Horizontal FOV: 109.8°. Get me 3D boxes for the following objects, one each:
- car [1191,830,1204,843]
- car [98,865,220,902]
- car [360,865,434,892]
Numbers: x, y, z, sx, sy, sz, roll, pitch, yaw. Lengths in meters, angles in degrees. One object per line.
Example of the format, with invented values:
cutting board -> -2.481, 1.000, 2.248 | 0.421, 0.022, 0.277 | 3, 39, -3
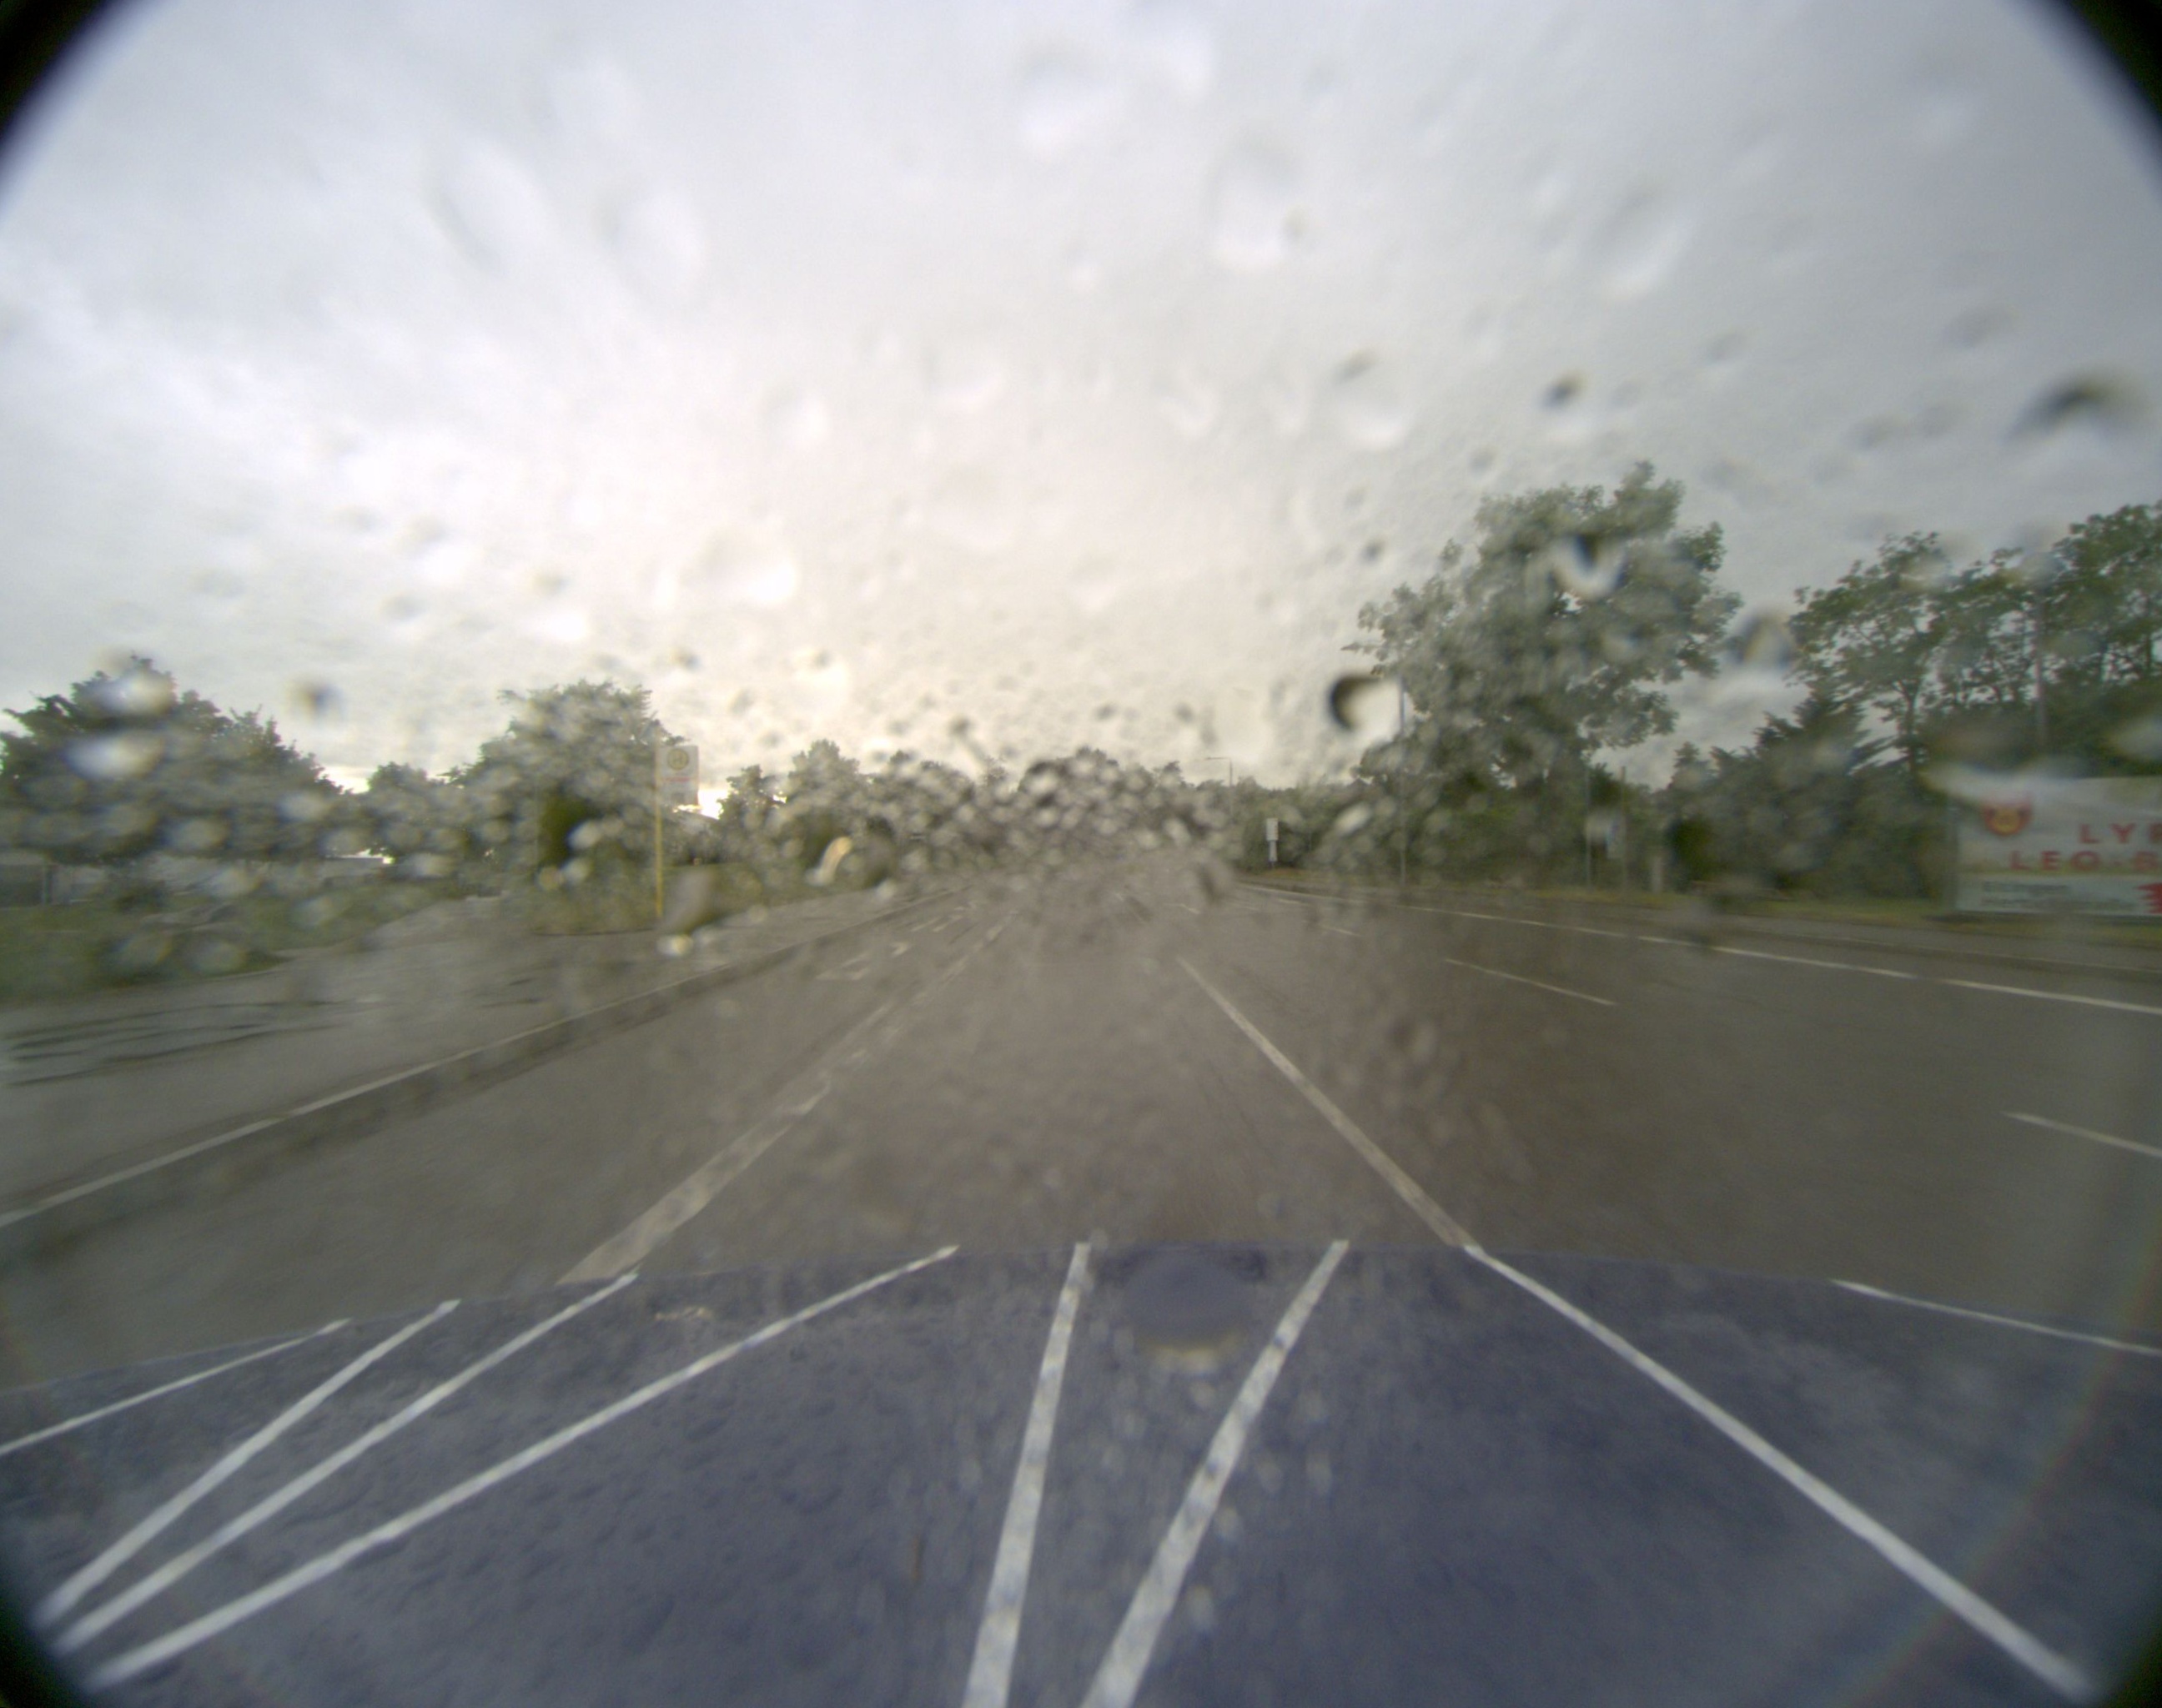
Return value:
car -> 19.516, -2.929, 127.339 | 1.965, 2.002, 4.002 | -1, 1, 10
car -> -49.710, 1.535, 41.113 | 2.000, 1.740, 3.913 | -2, 1, -7
car -> -49.901, 1.775, 55.550 | 1.787, 1.677, 4.496 | -1, 2, -9
